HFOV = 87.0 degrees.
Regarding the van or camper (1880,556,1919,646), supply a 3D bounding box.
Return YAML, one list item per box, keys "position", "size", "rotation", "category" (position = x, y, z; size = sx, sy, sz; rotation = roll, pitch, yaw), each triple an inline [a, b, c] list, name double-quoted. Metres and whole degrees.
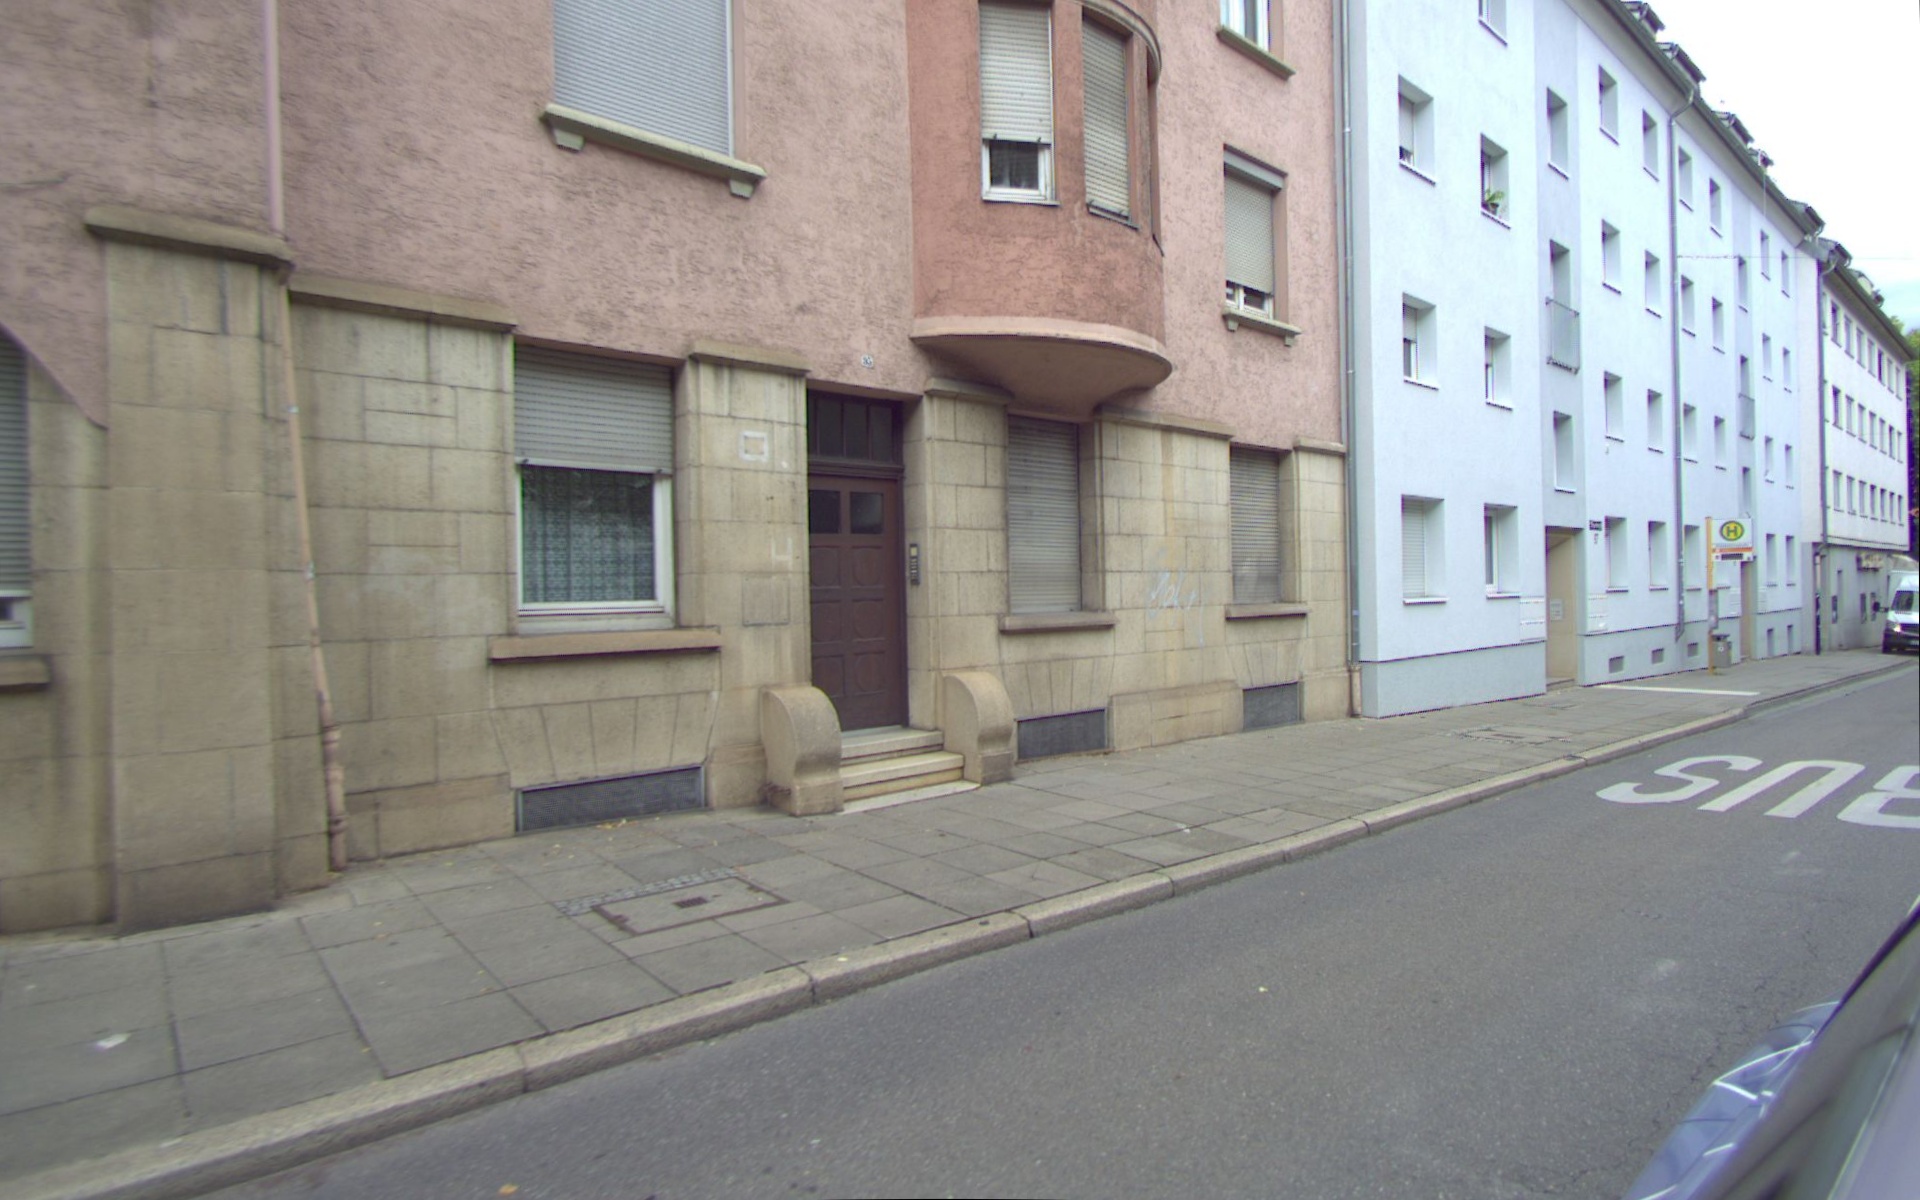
- position: [33.158, 0.065, 34.197]
  size: [7.117, 2.837, 2.483]
  rotation: [0, 2, -44]
  category: "van or camper"
